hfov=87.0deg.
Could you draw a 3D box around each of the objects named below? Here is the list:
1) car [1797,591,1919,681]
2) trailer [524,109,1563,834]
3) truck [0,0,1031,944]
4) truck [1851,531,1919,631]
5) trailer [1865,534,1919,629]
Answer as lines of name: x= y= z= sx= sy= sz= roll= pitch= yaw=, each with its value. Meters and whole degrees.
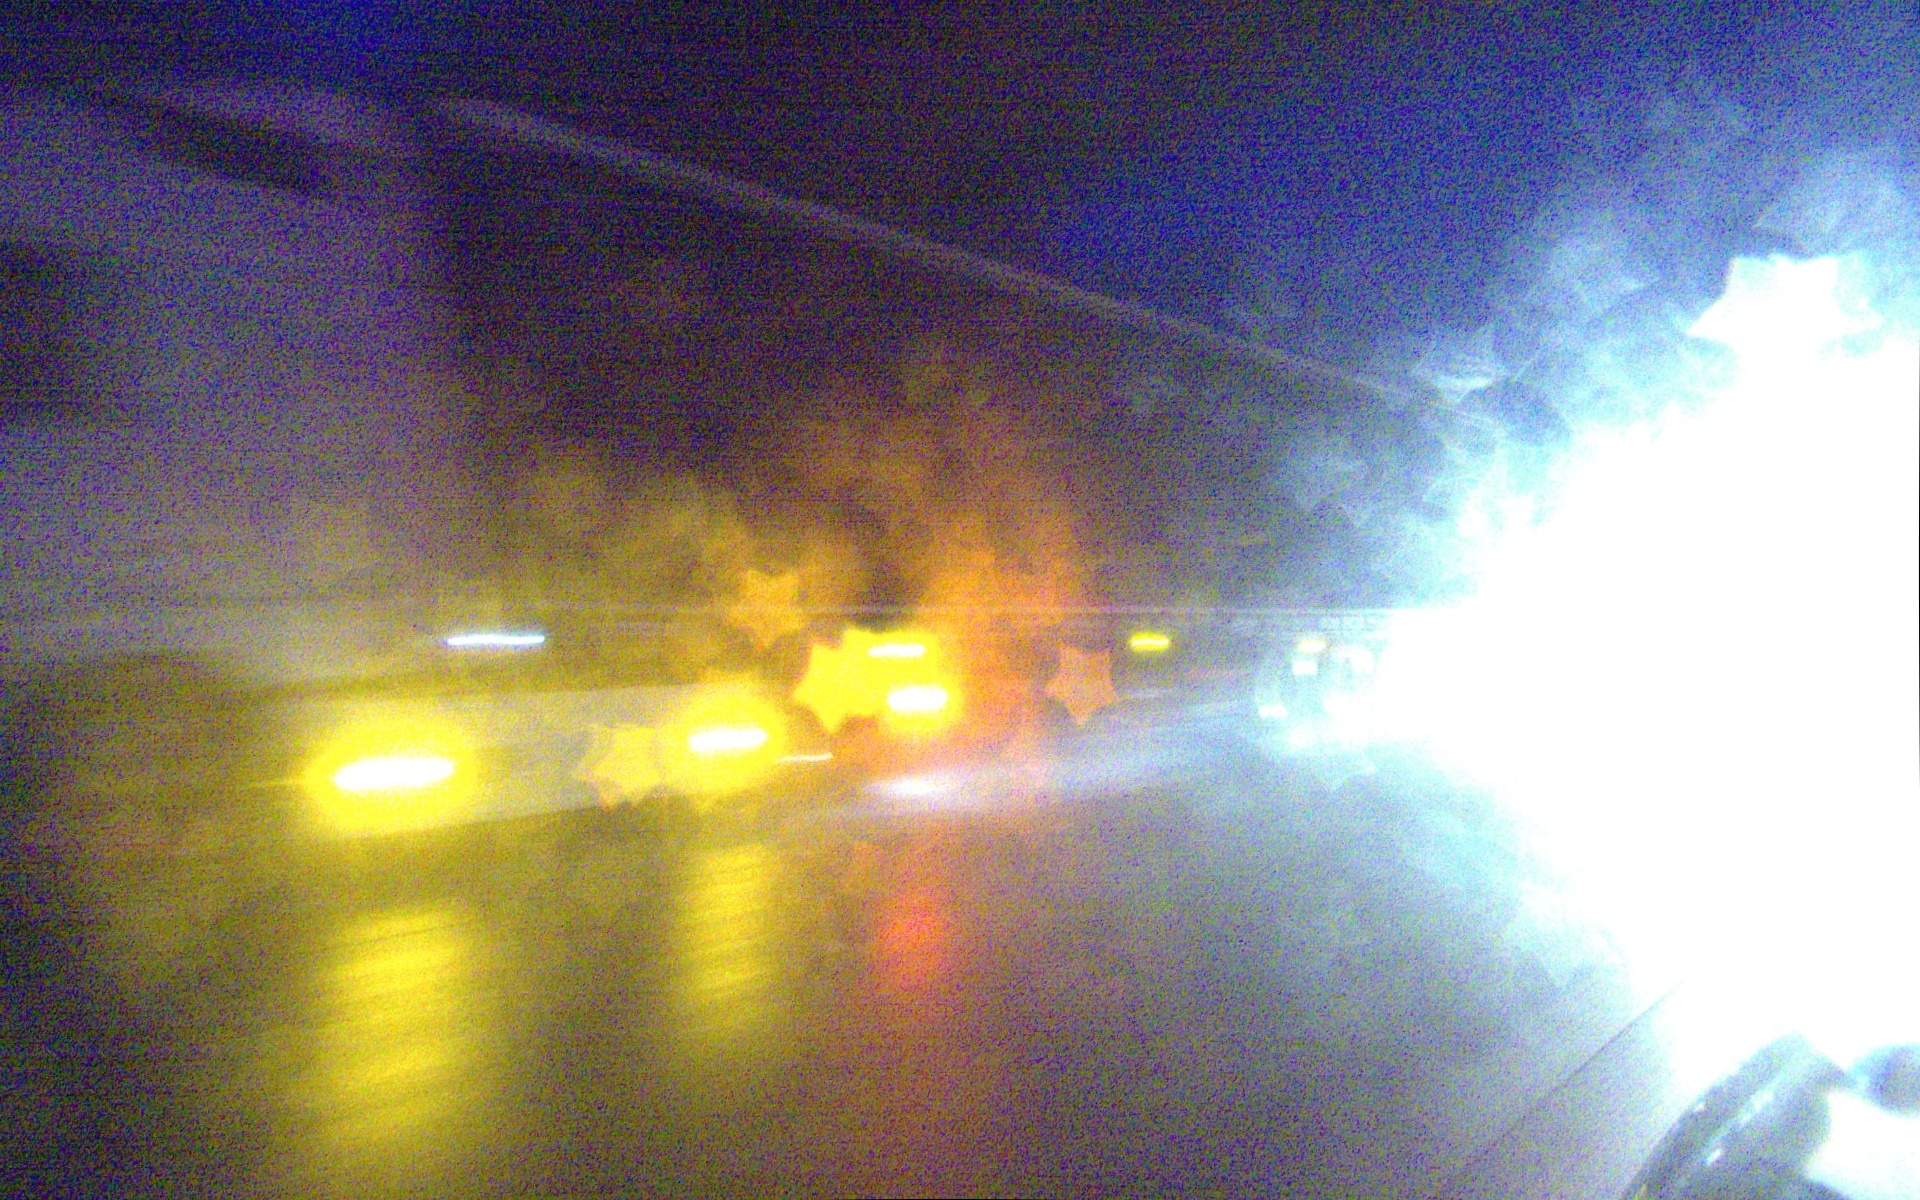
car: x=17.178 y=0.592 z=18.995 sx=3.701 sy=1.522 sz=1.618 roll=0 pitch=0 yaw=-40
trailer: x=2.575 y=-0.795 z=11.226 sx=13.400 sy=4.149 sz=2.870 roll=-1 pitch=0 yaw=-40
truck: x=-3.011 y=-0.742 z=6.497 sx=6.889 sy=4.155 sz=2.865 roll=0 pitch=0 yaw=-40
truck: x=42.487 y=-0.826 z=45.535 sx=5.910 sy=4.246 sz=2.776 roll=0 pitch=0 yaw=-40
trailer: x=46.958 y=-0.856 z=49.336 sx=10.981 sy=4.246 sz=2.752 roll=0 pitch=0 yaw=-40
